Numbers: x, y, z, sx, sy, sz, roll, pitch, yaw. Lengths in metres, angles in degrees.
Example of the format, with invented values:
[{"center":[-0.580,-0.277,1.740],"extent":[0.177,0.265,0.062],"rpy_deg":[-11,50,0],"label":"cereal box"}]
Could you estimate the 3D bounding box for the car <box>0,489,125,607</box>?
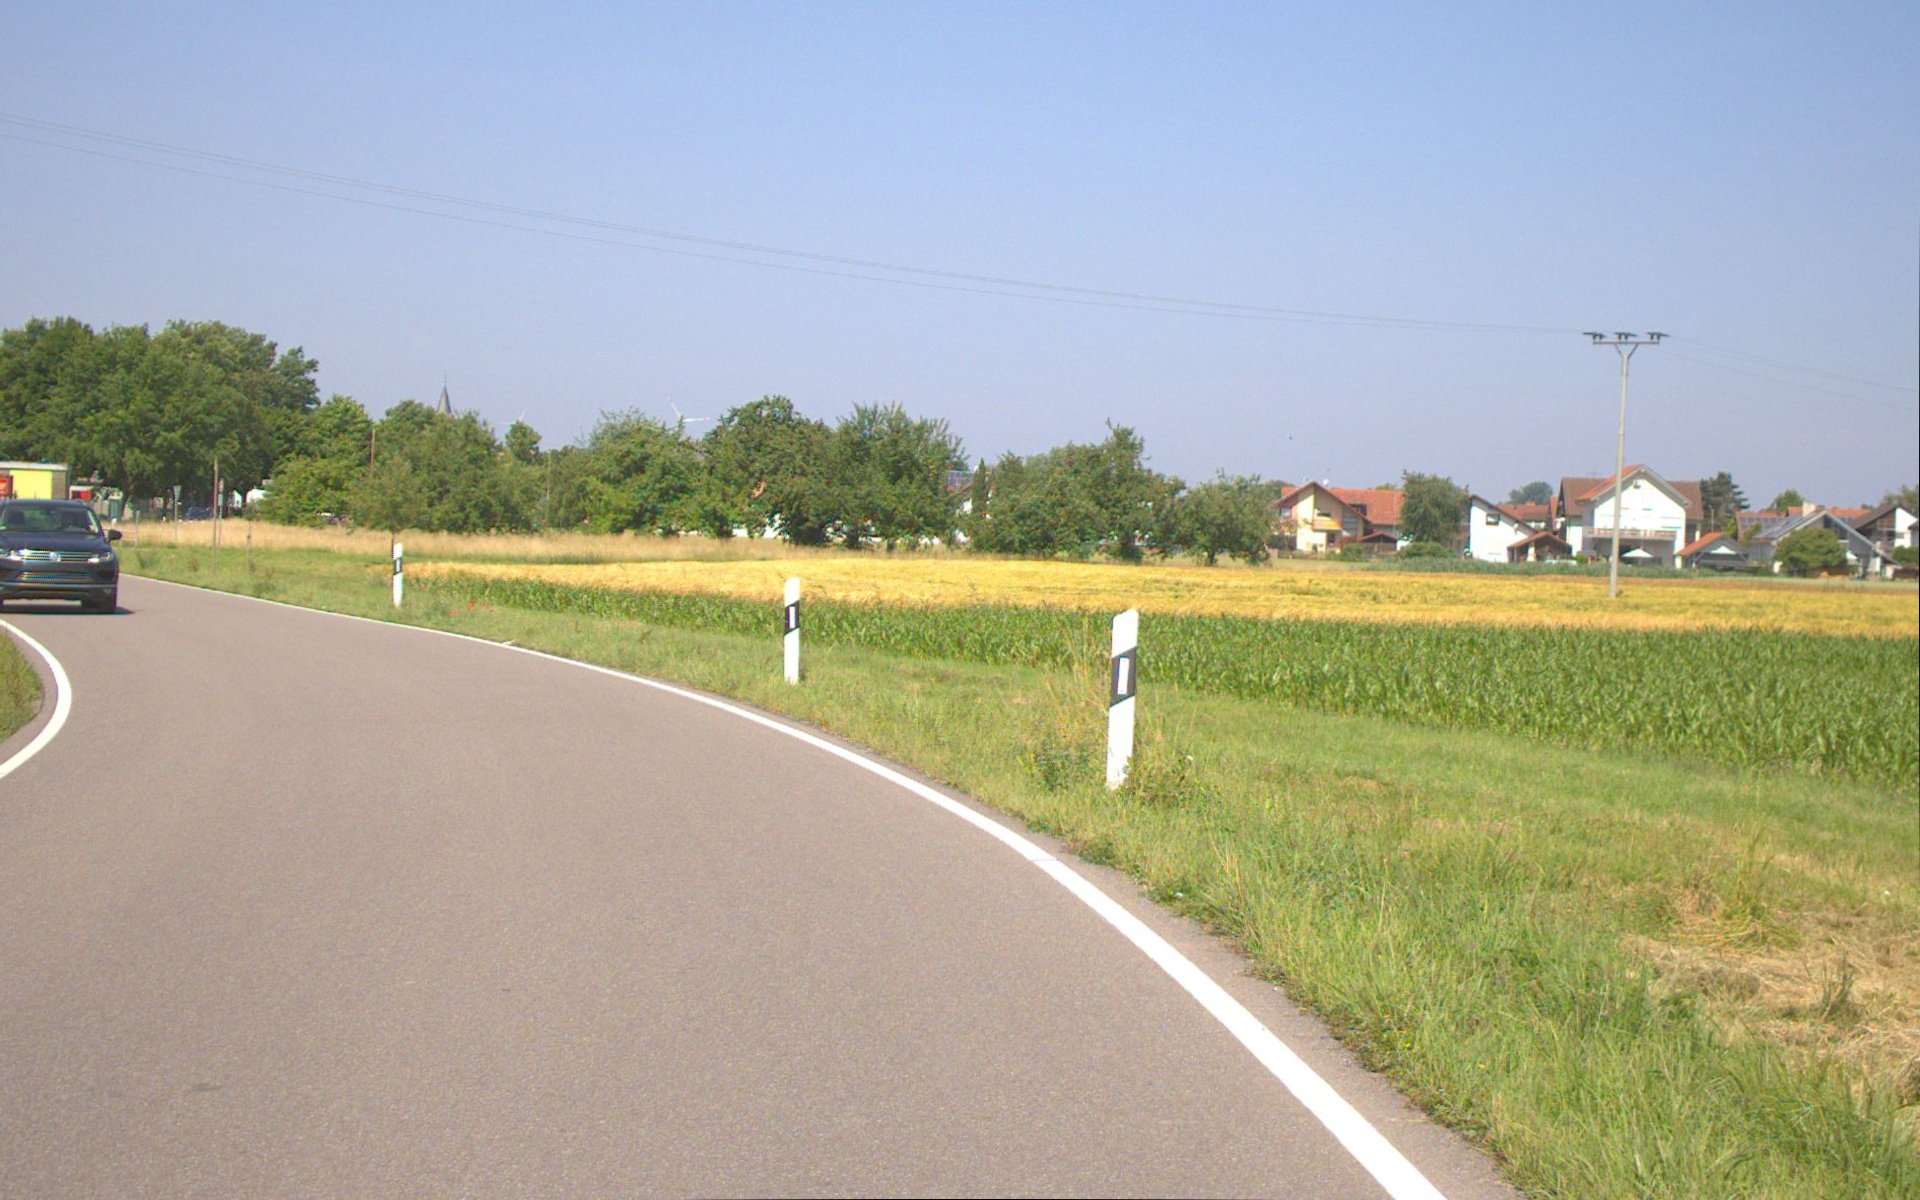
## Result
[{"center":[-14.035,-0.824,52.537],"extent":[1.886,1.709,4.015],"rpy_deg":[1,2,-22],"label":"car"}]
